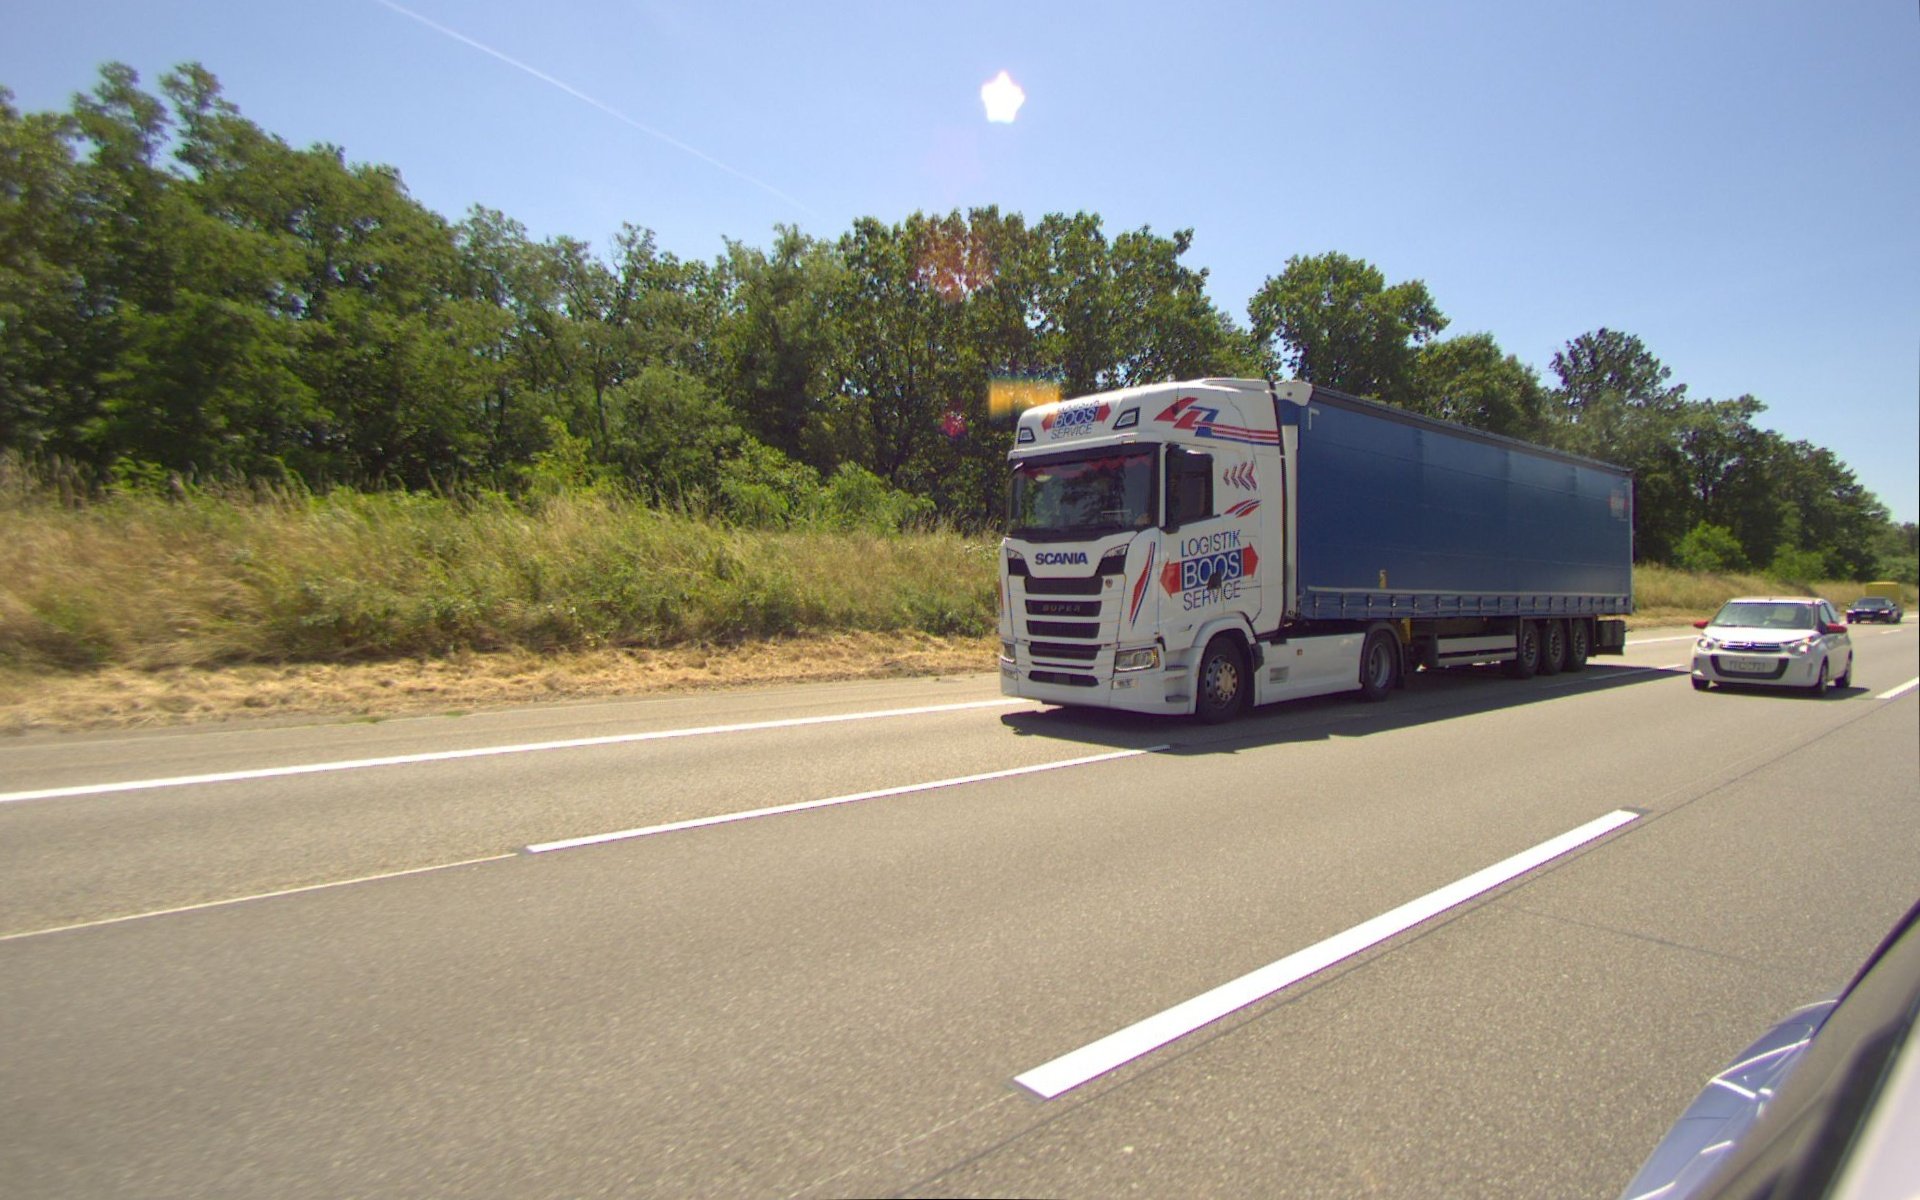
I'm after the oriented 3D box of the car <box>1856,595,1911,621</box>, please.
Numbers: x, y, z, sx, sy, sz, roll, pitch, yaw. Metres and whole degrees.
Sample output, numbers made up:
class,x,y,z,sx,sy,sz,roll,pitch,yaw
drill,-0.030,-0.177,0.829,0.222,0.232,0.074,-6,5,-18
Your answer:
class,x,y,z,sx,sy,sz,roll,pitch,yaw
car,50.201,0.412,55.011,3.294,1.298,1.844,-1,0,-41

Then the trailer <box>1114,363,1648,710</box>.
class,x,y,z,sx,sy,sz,roll,pitch,yaw
trailer,8.164,-0.817,17.366,13.835,4.053,2.601,-1,0,-41

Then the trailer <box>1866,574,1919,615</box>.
class,x,y,z,sx,sy,sz,roll,pitch,yaw
trailer,52.637,-0.305,57.118,3.141,2.236,1.847,-1,0,-41

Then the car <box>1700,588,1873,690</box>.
class,x,y,z,sx,sy,sz,roll,pitch,yaw
car,13.117,0.542,16.010,3.294,1.438,1.580,-1,0,-41

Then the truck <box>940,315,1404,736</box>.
class,x,y,z,sx,sy,sz,roll,pitch,yaw
truck,2.899,-0.751,12.744,6.066,4.053,2.601,-1,0,-41
